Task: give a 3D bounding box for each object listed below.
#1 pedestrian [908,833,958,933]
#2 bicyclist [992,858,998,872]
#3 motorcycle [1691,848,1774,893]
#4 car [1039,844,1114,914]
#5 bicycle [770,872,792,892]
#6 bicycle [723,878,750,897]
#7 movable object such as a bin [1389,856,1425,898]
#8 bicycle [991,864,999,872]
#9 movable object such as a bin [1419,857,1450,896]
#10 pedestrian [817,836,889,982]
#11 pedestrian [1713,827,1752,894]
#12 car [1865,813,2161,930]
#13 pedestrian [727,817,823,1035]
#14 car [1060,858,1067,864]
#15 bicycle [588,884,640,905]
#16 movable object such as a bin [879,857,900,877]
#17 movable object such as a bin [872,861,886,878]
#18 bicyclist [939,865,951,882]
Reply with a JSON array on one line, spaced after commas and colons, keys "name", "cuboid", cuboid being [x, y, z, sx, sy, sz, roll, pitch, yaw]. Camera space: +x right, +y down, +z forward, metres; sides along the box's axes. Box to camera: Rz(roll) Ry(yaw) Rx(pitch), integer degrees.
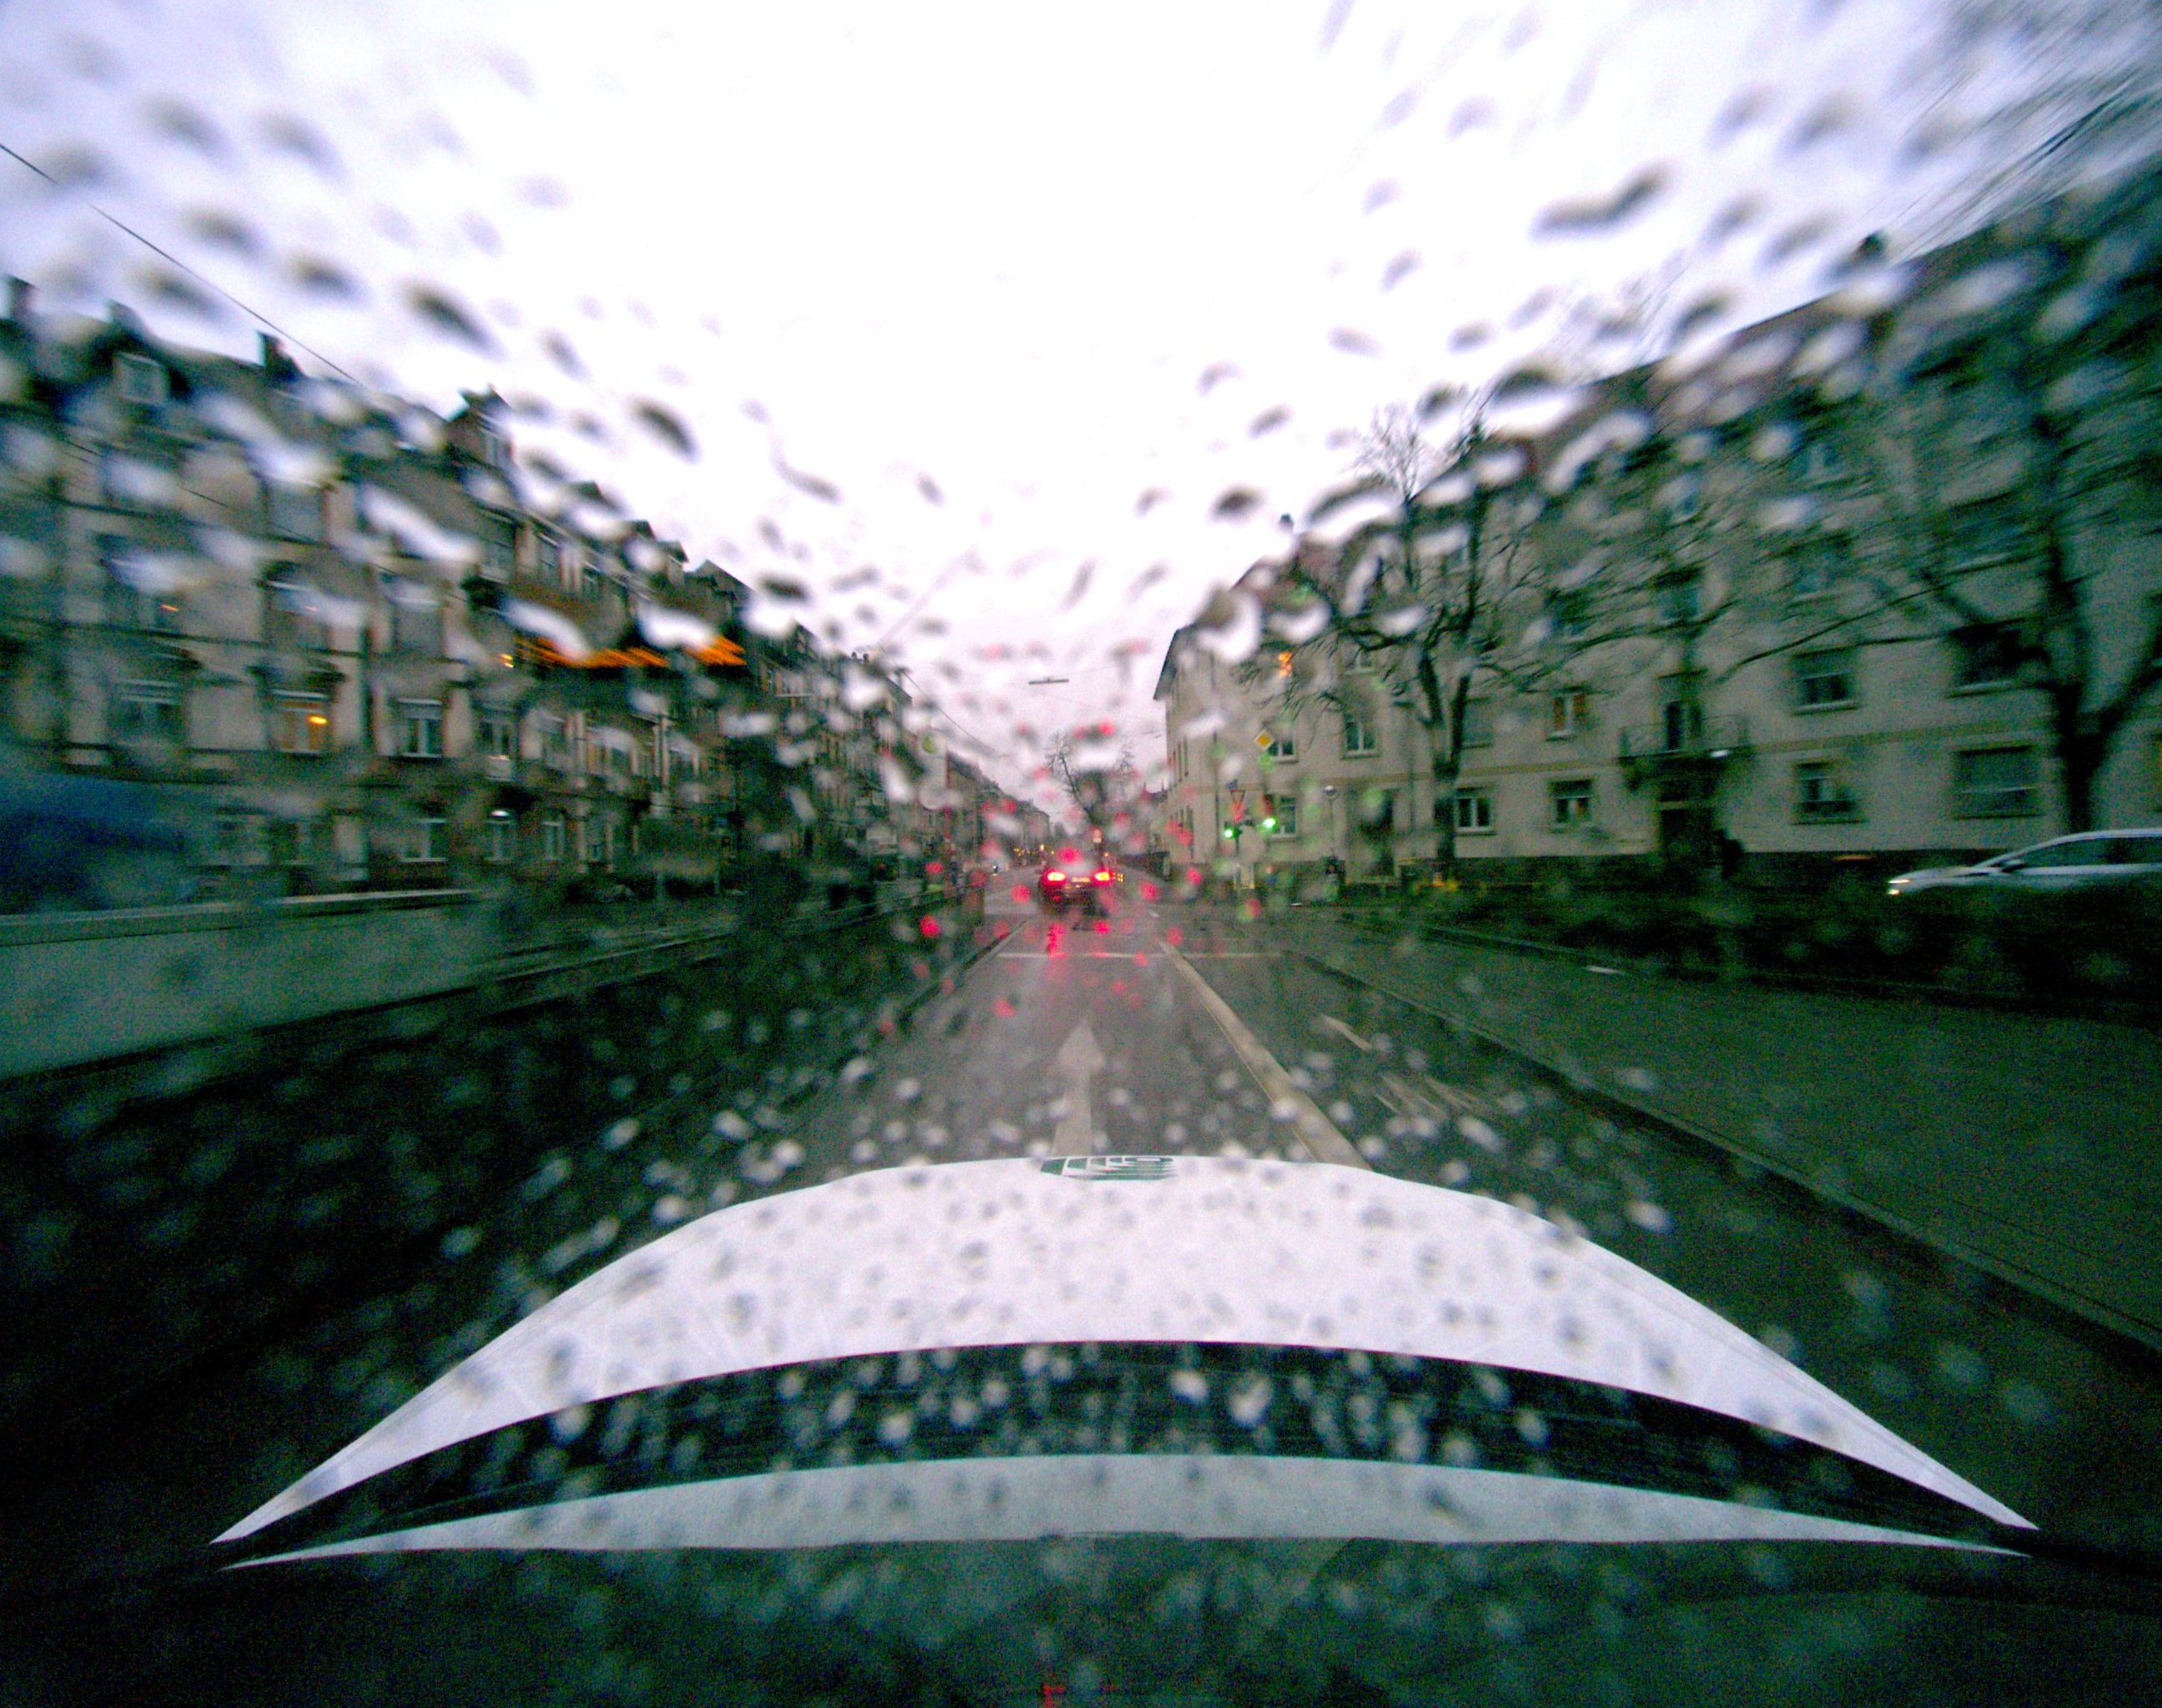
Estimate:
[{"name": "pedestrian", "cuboid": [-2.920, 0.559, 16.097, 0.682, 1.917, 0.720, 1, -1, 13]}, {"name": "bicyclist", "cuboid": [-10.235, 1.336, 96.891, 0.681, 1.616, 0.766, -1, -1, 2]}, {"name": "motorcycle", "cuboid": [17.172, 0.435, 21.494, 0.572, 1.105, 1.586, -4, 1, -34]}, {"name": "car", "cuboid": [-0.212, 0.699, 24.201, 1.800, 1.871, 4.009, 1, 0, -6]}, {"name": "bicycle", "cuboid": [-16.276, 1.503, 44.248, 0.414, 1.007, 1.850, -1, 0, 3]}, {"name": "bicycle", "cuboid": [-16.658, 1.598, 39.421, 0.398, 0.862, 1.850, -1, 0, 3]}, {"name": "movable object such as a bin", "cuboid": [10.006, 0.691, 25.001, 0.844, 1.251, 0.525, 1, -1, 44]}, {"name": "bicycle", "cuboid": [-10.230, 1.683, 96.902, 0.675, 0.972, 1.934, -1, 0, 3]}, {"name": "movable object such as a bin", "cuboid": [10.611, 0.670, 24.444, 0.692, 1.120, 0.542, 1, -1, 44]}, {"name": "pedestrian", "cuboid": [-2.772, 0.650, 9.938, 0.655, 1.708, 0.571, 1, -1, 2]}, {"name": "pedestrian", "cuboid": [16.575, 0.160, 20.713, 0.705, 1.660, 0.692, -2, 0, 40]}, {"name": "car", "cuboid": [15.224, 0.235, 12.121, 1.904, 1.510, 4.711, -5, 0, -27]}, {"name": "pedestrian", "cuboid": [-2.657, 0.601, 7.107, 0.555, 1.808, 0.571, 1, -1, 2]}, {"name": "car", "cuboid": [-5.183, 2.041, 247.193, 1.916, 1.720, 4.001, -1, 0, 1]}, {"name": "bicycle", "cuboid": [-19.176, 1.660, 33.467, 0.395, 0.759, 1.822, -1, -1, 37]}, {"name": "movable object such as a bin", "cuboid": [-15.216, 1.036, 64.663, 1.238, 1.586, 1.310, -1, 0, 6]}, {"name": "movable object such as a bin", "cuboid": [-15.818, 1.201, 63.740, 0.892, 1.292, 0.746, -1, 0, -1]}, {"name": "bicyclist", "cuboid": [-11.103, 1.599, 66.478, 0.702, 1.364, 0.944, 0, -1, 2]}]
